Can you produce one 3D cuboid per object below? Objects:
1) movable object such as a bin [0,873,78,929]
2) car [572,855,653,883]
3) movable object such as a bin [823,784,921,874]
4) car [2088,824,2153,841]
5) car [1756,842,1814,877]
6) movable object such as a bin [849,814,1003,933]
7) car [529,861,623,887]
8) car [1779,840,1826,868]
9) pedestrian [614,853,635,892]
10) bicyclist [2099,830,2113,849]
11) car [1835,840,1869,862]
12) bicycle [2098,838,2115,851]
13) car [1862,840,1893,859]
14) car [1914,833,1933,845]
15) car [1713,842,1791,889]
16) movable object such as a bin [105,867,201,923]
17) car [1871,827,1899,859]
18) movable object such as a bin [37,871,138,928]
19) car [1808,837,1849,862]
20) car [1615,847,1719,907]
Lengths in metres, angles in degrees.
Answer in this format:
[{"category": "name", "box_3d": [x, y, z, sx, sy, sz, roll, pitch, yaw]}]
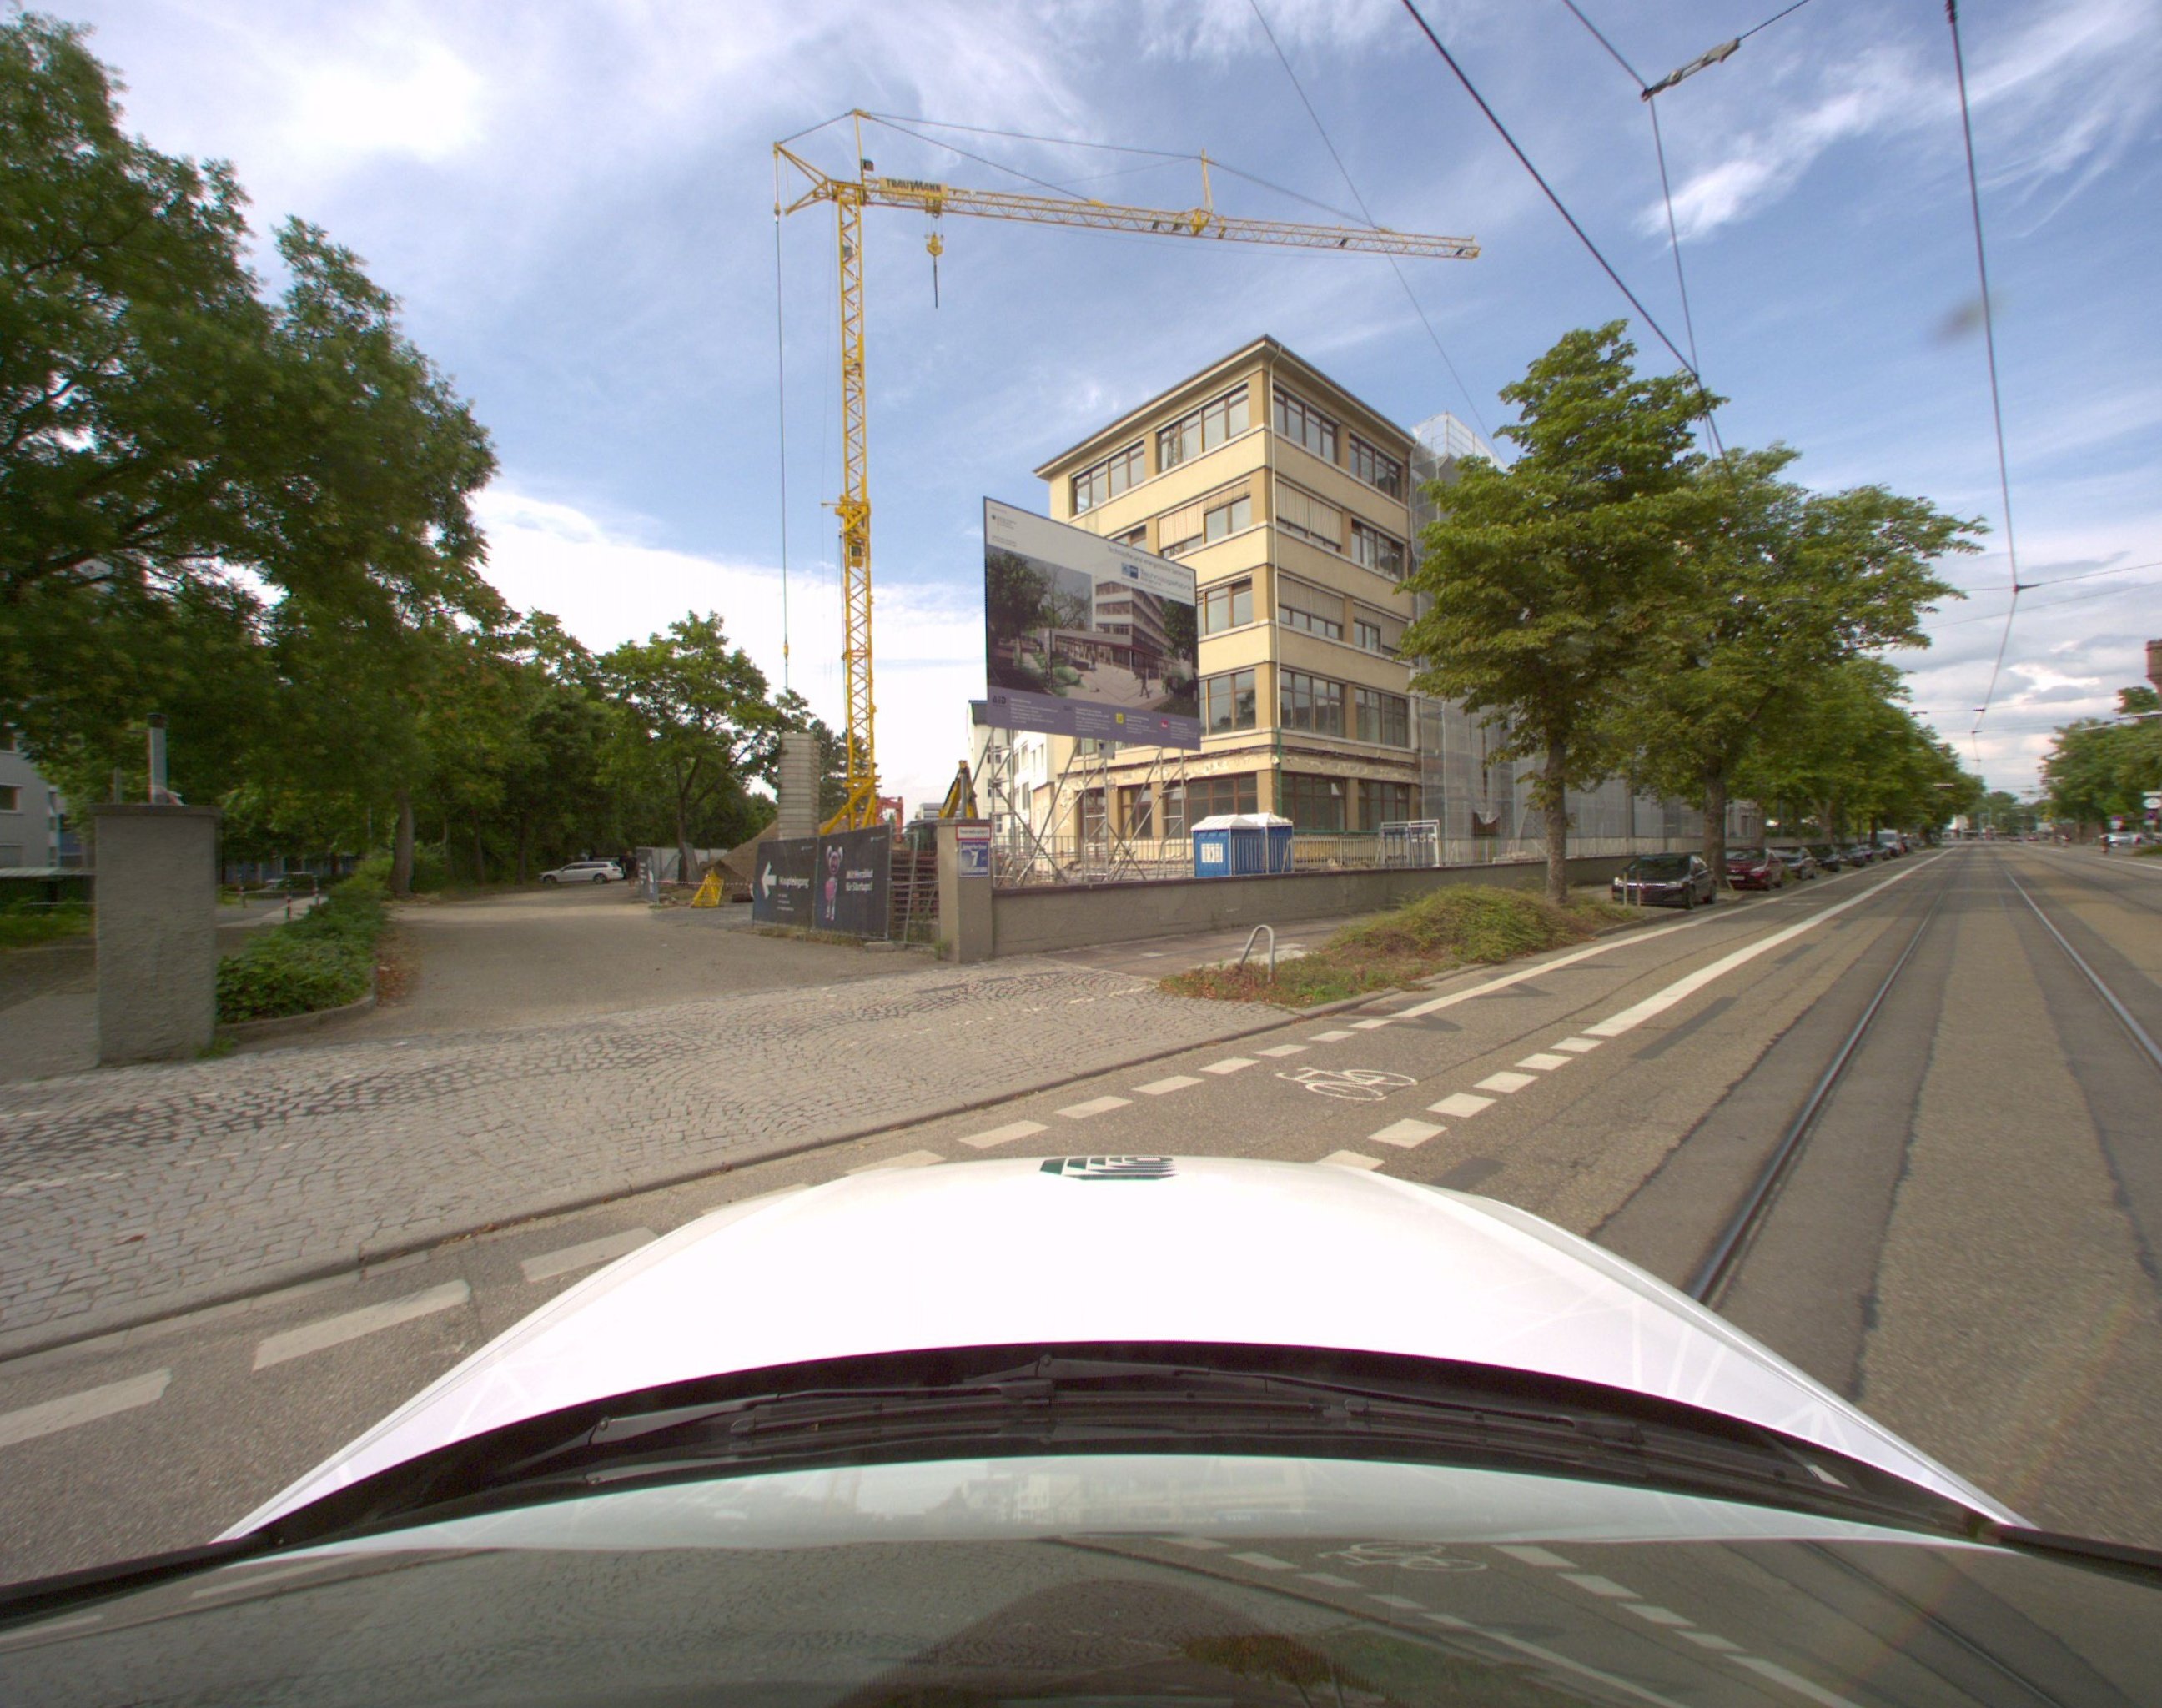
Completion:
[{"category": "movable object such as a bin", "box_3d": [-27.989, 1.233, 21.625, 1.282, 1.430, 1.116, -1, 0, -15]}, {"category": "car", "box_3d": [-36.091, 1.138, 62.870, 5.057, 1.953, 1.989, -1, 0, -17]}, {"category": "movable object such as a bin", "box_3d": [-16.787, -1.884, 66.684, 3.823, 6.669, 11.011, -1, 0, 7]}, {"category": "car", "box_3d": [109.655, -2.262, 85.993, 3.949, 1.693, 2.012, -1, 0, 42]}, {"category": "car", "box_3d": [30.200, 0.206, 34.897, 3.986, 1.402, 1.576, -1, 0, -45]}, {"category": "movable object such as a bin", "box_3d": [-3.588, 0.398, 18.589, 2.507, 2.443, 3.030, -1, 0, -32]}, {"category": "car", "box_3d": [-32.212, 1.235, 52.124, 4.810, 1.488, 1.986, -1, 0, -21]}, {"category": "car", "box_3d": [37.477, -0.022, 42.278, 3.986, 1.402, 1.576, -1, 0, -45]}, {"category": "pedestrian", "box_3d": [-21.402, 0.862, 38.187, 0.750, 1.790, 0.726, -1, -1, -20]}, {"category": "bicyclist", "box_3d": [80.391, -1.158, 63.874, 0.880, 1.459, 0.587, -1, 0, -45]}, {"category": "car", "box_3d": [52.959, -0.218, 55.920, 3.986, 1.402, 1.576, -1, 0, -45]}, {"category": "bicycle", "box_3d": [80.398, -0.742, 63.876, 1.989, 1.043, 0.587, -2, 0, -45]}, {"category": "car", "box_3d": [60.988, -0.341, 62.329, 3.986, 1.402, 1.576, -1, 0, -45]}, {"category": "car", "box_3d": [104.347, -1.827, 100.837, 3.569, 1.402, 1.576, -1, 0, -43]}, {"category": "car", "box_3d": [23.562, 0.353, 28.557, 3.985, 1.496, 1.621, -1, 0, -43]}, {"category": "movable object such as a bin", "box_3d": [-25.111, 1.088, 22.077, 1.282, 1.430, 1.116, -1, 0, -15]}, {"category": "car", "box_3d": [70.724, -1.018, 71.610, 5.502, 2.704, 1.705, -1, 0, -45]}, {"category": "movable object such as a bin", "box_3d": [-26.648, 1.201, 21.874, 1.282, 1.430, 1.116, -1, 0, -15]}, {"category": "car", "box_3d": [45.178, -0.289, 49.199, 3.986, 1.402, 1.576, -1, 0, -45]}, {"category": "car", "box_3d": [15.516, 0.550, 21.485, 3.986, 1.402, 1.576, -1, 0, -45]}]
